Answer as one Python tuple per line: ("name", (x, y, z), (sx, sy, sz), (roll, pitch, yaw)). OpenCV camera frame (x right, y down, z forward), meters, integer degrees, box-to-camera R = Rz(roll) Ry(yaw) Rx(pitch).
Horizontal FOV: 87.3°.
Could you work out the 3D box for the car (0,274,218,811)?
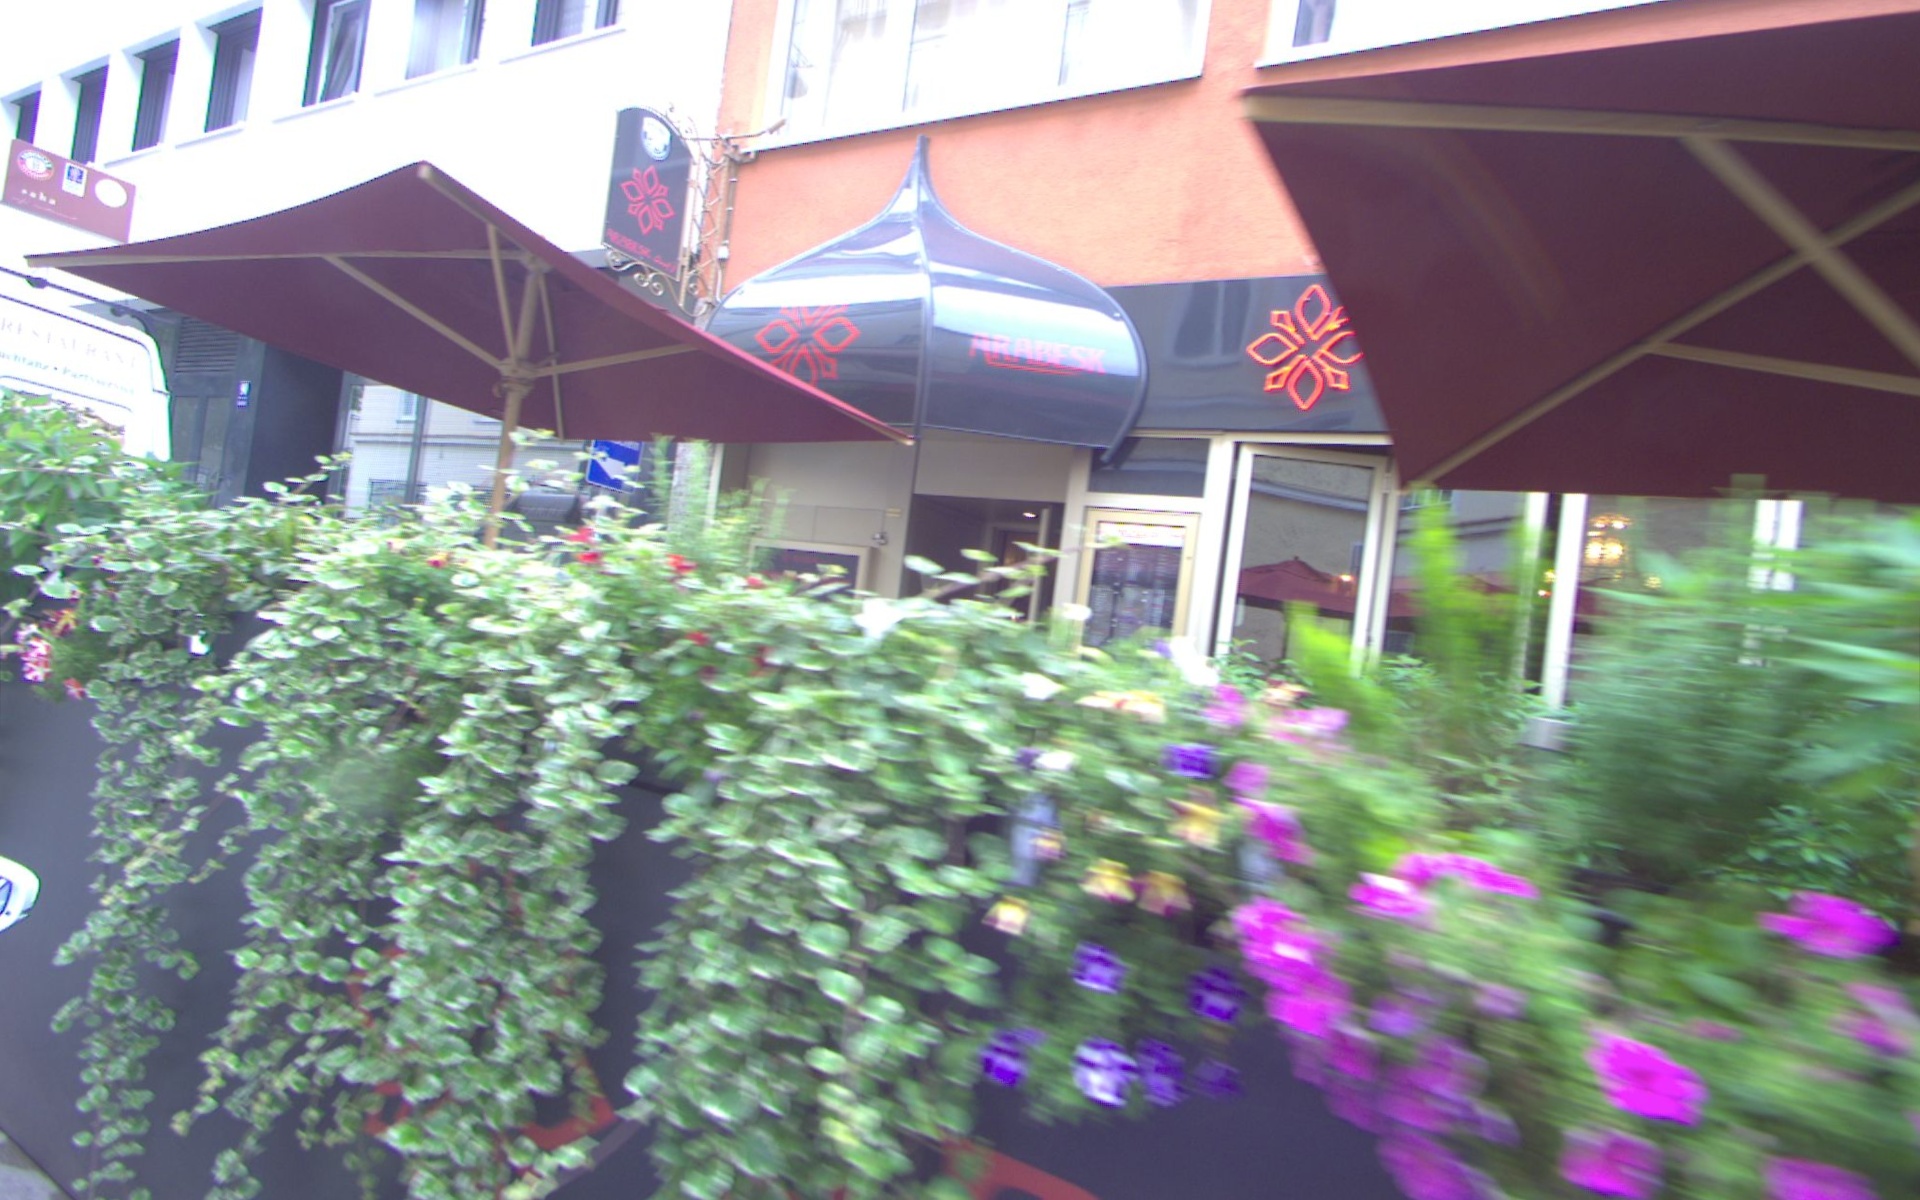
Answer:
("car", (-7.228, -0.589, 6.039), (5.894, 2.534, 1.926), (7, -2, 29))
